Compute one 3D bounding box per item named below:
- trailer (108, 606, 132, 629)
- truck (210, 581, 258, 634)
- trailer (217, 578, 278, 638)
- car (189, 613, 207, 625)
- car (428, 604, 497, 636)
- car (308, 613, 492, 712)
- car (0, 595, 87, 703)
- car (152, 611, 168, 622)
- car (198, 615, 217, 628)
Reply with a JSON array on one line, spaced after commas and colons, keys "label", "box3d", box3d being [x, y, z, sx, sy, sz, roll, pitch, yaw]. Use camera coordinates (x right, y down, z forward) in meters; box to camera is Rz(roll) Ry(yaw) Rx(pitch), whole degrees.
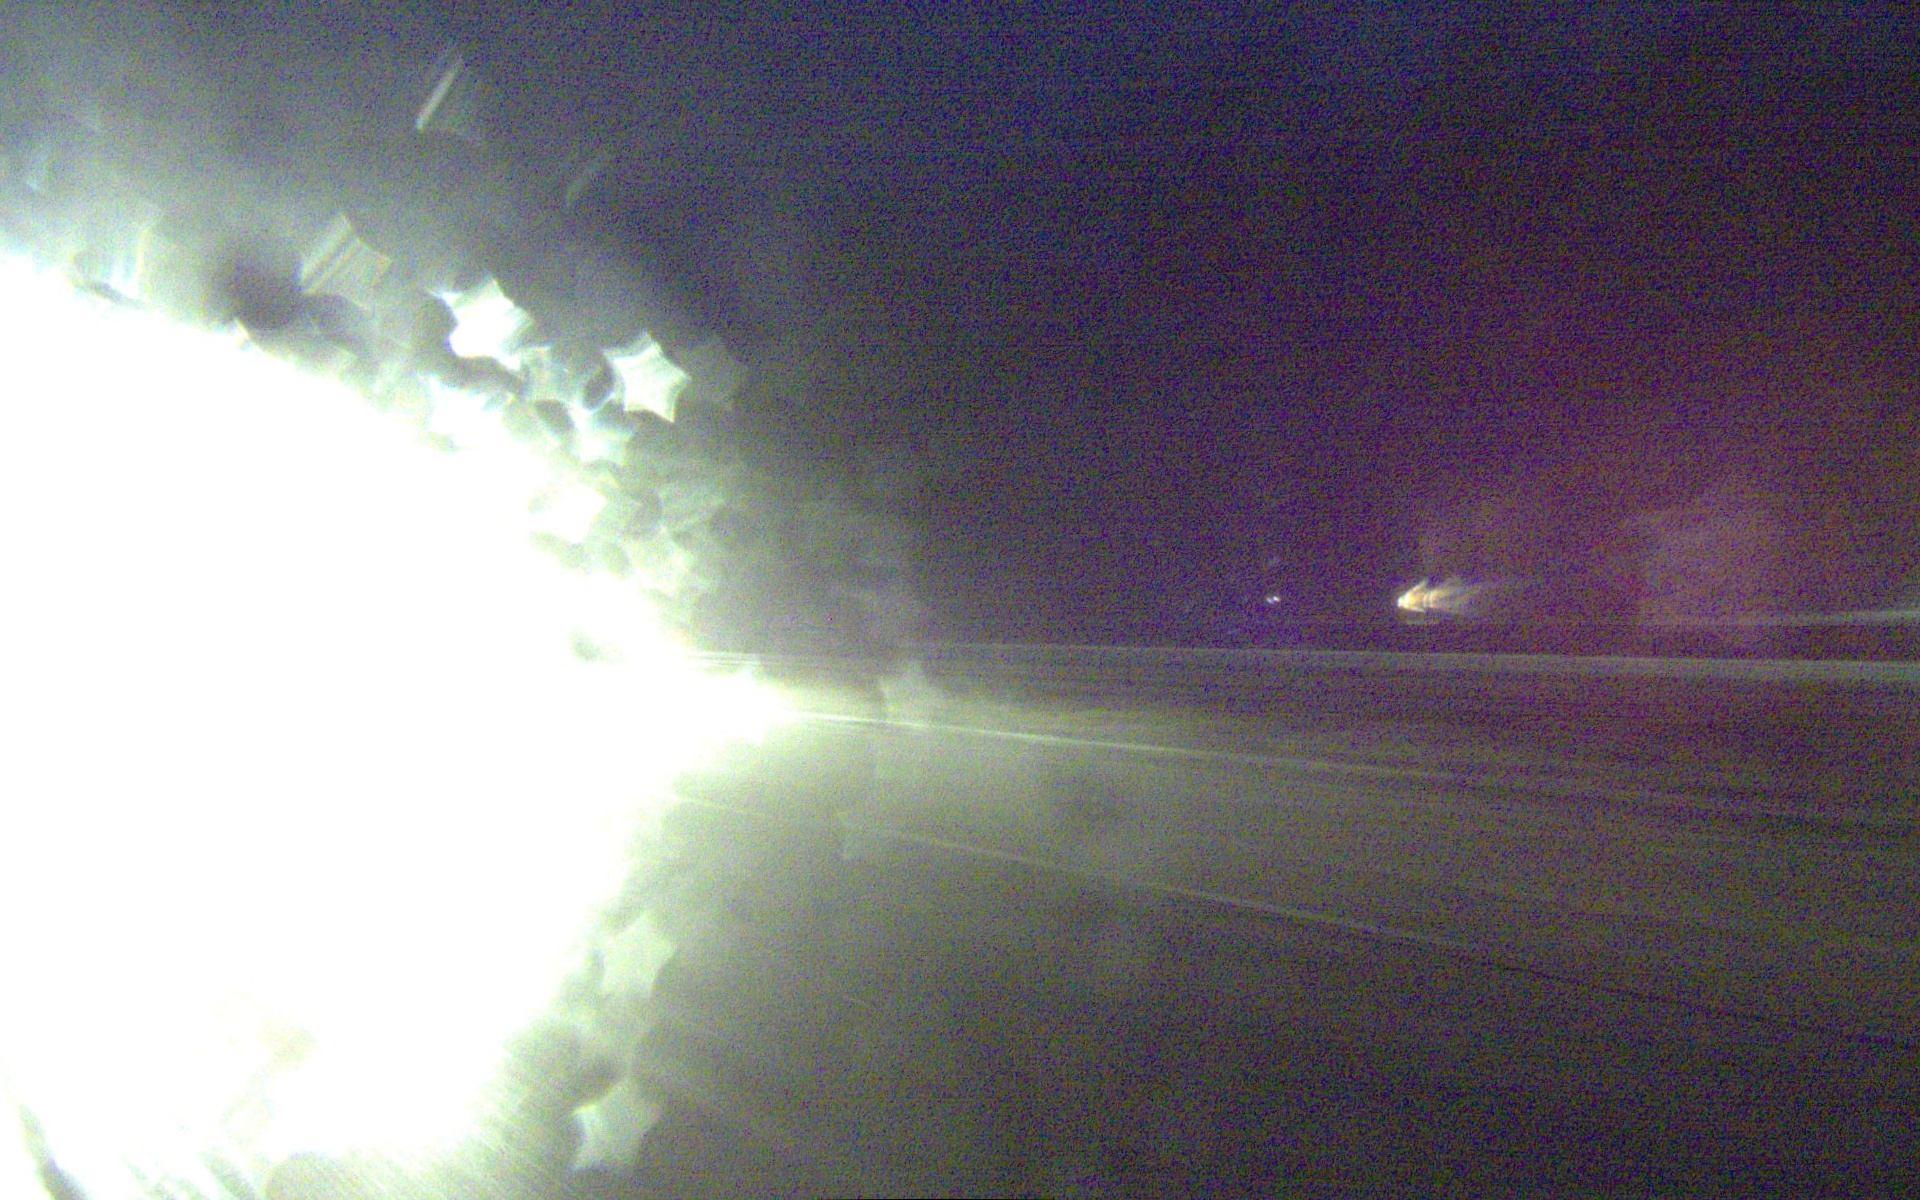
[{"label": "trailer", "box3d": [-166.509, 3.516, 200.499, 3.314, 4.205, 11.735, -1, 0, -42]}, {"label": "truck", "box3d": [-62.729, 0.623, 87.388, 2.534, 4.437, 5.857, -2, 1, -43]}, {"label": "trailer", "box3d": [-57.559, 0.618, 81.598, 2.544, 4.490, 12.509, -2, 1, -42]}, {"label": "car", "box3d": [-109.836, 2.726, 145.870, 1.742, 1.506, 3.808, -1, 0, -42]}, {"label": "car", "box3d": [-27.586, 1.091, 56.040, 4.193, 1.655, 1.879, -1, 0, 40]}, {"label": "car", "box3d": [-10.070, 1.059, 18.098, 3.846, 1.587, 1.633, -2, -2, 40]}, {"label": "car", "box3d": [-20.221, 1.009, 21.721, 4.462, 2.121, 1.731, -2, -2, 42]}, {"label": "car", "box3d": [-139.922, 2.832, 176.948, 1.868, 1.924, 4.850, -1, 0, -42]}, {"label": "car", "box3d": [-100.670, 2.866, 135.380, 1.786, 1.624, 4.204, -1, -2, -41]}]
